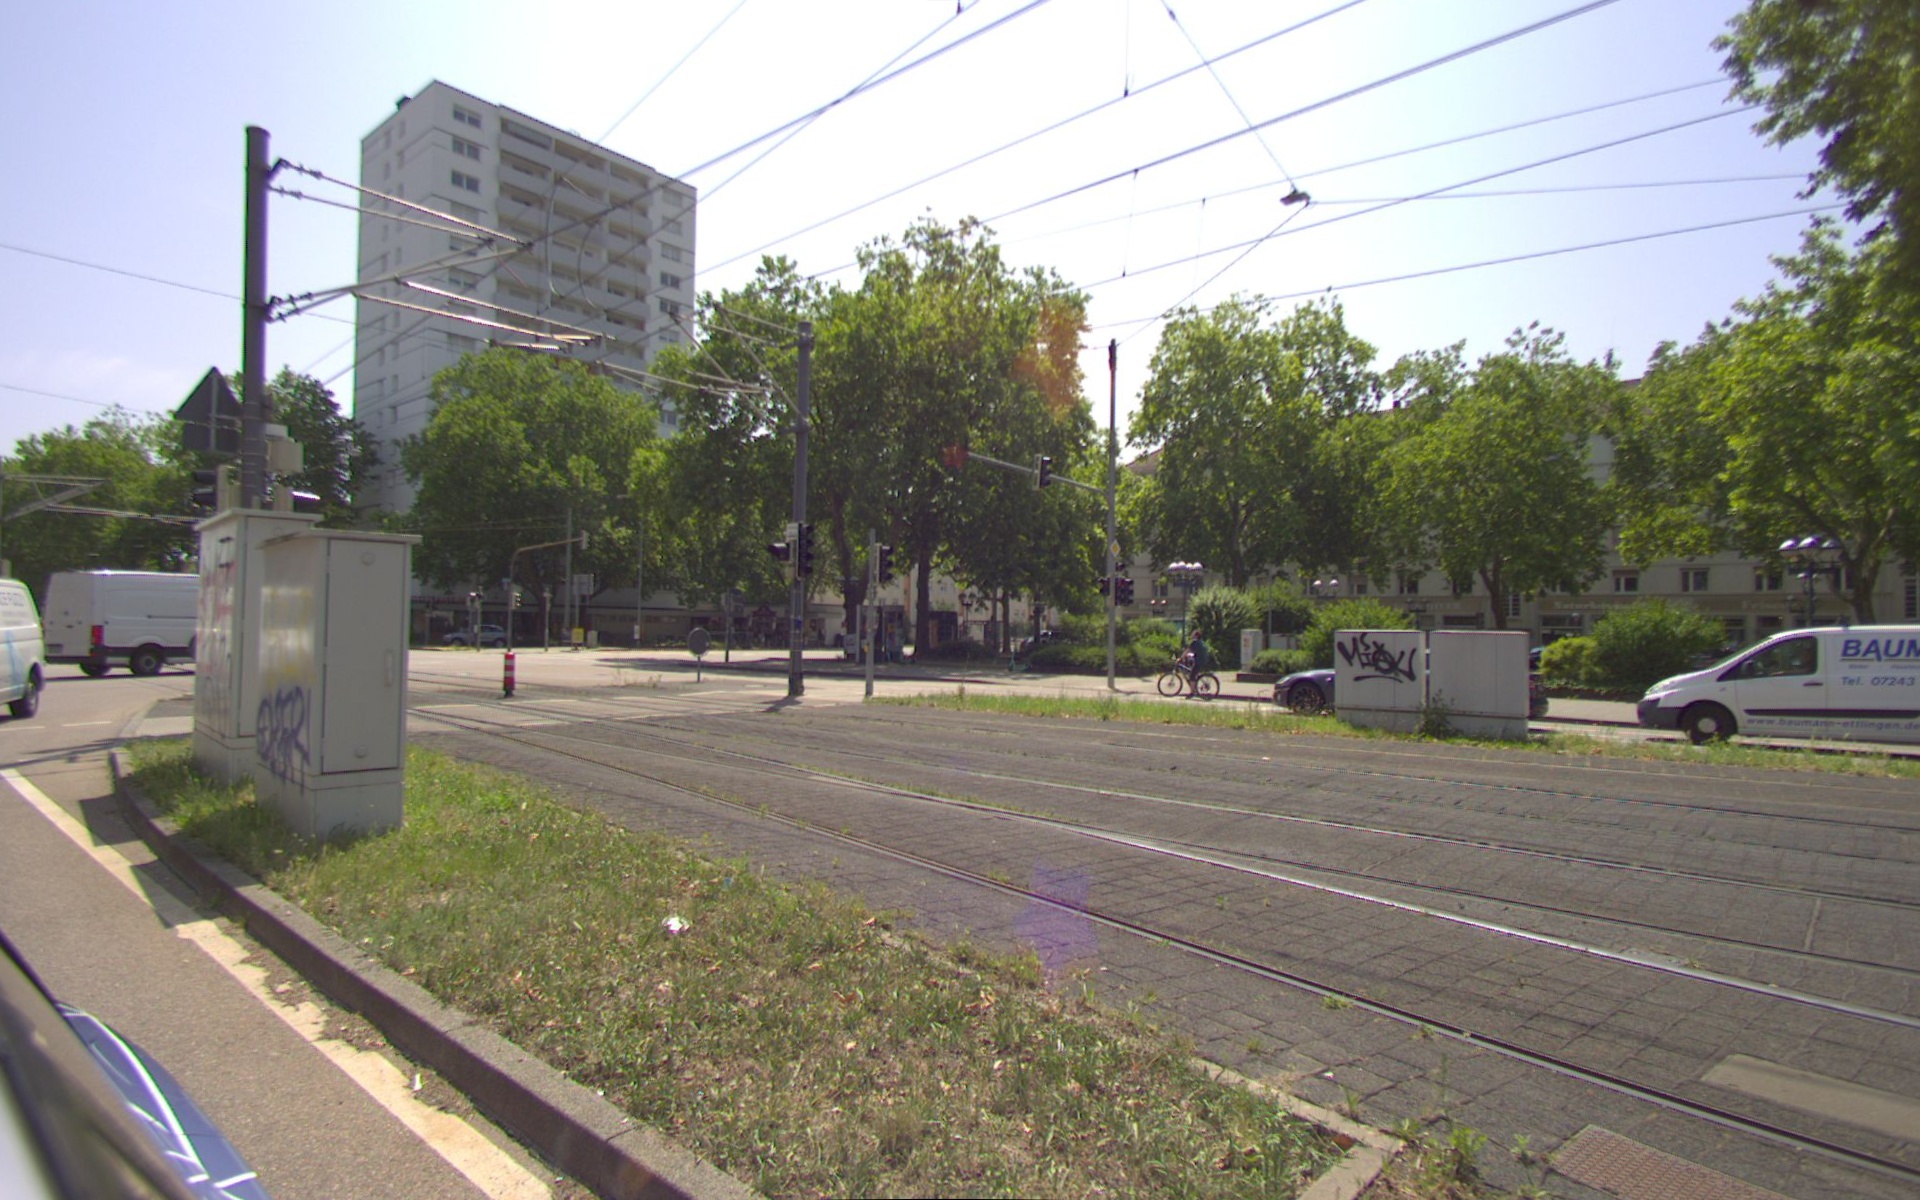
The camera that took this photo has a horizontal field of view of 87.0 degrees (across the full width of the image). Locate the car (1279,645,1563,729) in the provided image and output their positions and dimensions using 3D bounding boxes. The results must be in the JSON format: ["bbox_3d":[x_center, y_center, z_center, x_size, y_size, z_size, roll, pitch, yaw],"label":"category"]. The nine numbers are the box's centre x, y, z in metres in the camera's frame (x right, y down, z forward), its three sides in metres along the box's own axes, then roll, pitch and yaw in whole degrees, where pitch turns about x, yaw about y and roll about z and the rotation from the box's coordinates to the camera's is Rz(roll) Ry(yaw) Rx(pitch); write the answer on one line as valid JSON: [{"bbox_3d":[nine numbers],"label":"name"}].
[{"bbox_3d":[8.715,1.567,19.354,4.624,1.369,1.927,-1,-3,40],"label":"car"}]

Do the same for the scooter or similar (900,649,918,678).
[{"bbox_3d":[-2.102,2.595,41.596,0.253,1.129,0.979,2,-2,-37],"label":"scooter or similar"}]

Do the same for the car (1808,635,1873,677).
[{"bbox_3d":[43.035,2.693,49.432,2.166,1.964,3.942,-1,-2,44],"label":"car"}]

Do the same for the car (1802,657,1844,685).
[{"bbox_3d":[49.426,4.046,57.926,1.622,1.420,3.870,-1,-2,44],"label":"car"}]

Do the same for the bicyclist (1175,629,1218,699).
[{"bbox_3d":[5.901,1.573,25.287,0.867,1.698,0.632,-1,-2,37],"label":"bicyclist"}]

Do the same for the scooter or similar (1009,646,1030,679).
[{"bbox_3d":[2.088,2.176,35.543,0.253,1.129,0.862,2,-2,-37],"label":"scooter or similar"}]

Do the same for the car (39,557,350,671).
[{"bbox_3d":[-19.965,0.434,26.965,2.060,2.657,6.594,0,-2,18],"label":"car"}]

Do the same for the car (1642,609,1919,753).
[{"bbox_3d":[13.314,1.179,15.334,4.800,2.006,1.759,-1,-3,40],"label":"car"}]

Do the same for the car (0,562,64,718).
[{"bbox_3d":[-12.970,0.482,12.455,1.821,1.968,4.958,2,-2,-29],"label":"car"}]

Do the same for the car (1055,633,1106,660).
[{"bbox_3d":[9.429,3.570,78.905,2.001,2.029,3.941,-1,-2,45],"label":"car"}]

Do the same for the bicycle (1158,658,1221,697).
[{"bbox_3d":[5.743,1.933,25.380,1.481,0.889,0.491,-1,-2,38],"label":"bicycle"}]
